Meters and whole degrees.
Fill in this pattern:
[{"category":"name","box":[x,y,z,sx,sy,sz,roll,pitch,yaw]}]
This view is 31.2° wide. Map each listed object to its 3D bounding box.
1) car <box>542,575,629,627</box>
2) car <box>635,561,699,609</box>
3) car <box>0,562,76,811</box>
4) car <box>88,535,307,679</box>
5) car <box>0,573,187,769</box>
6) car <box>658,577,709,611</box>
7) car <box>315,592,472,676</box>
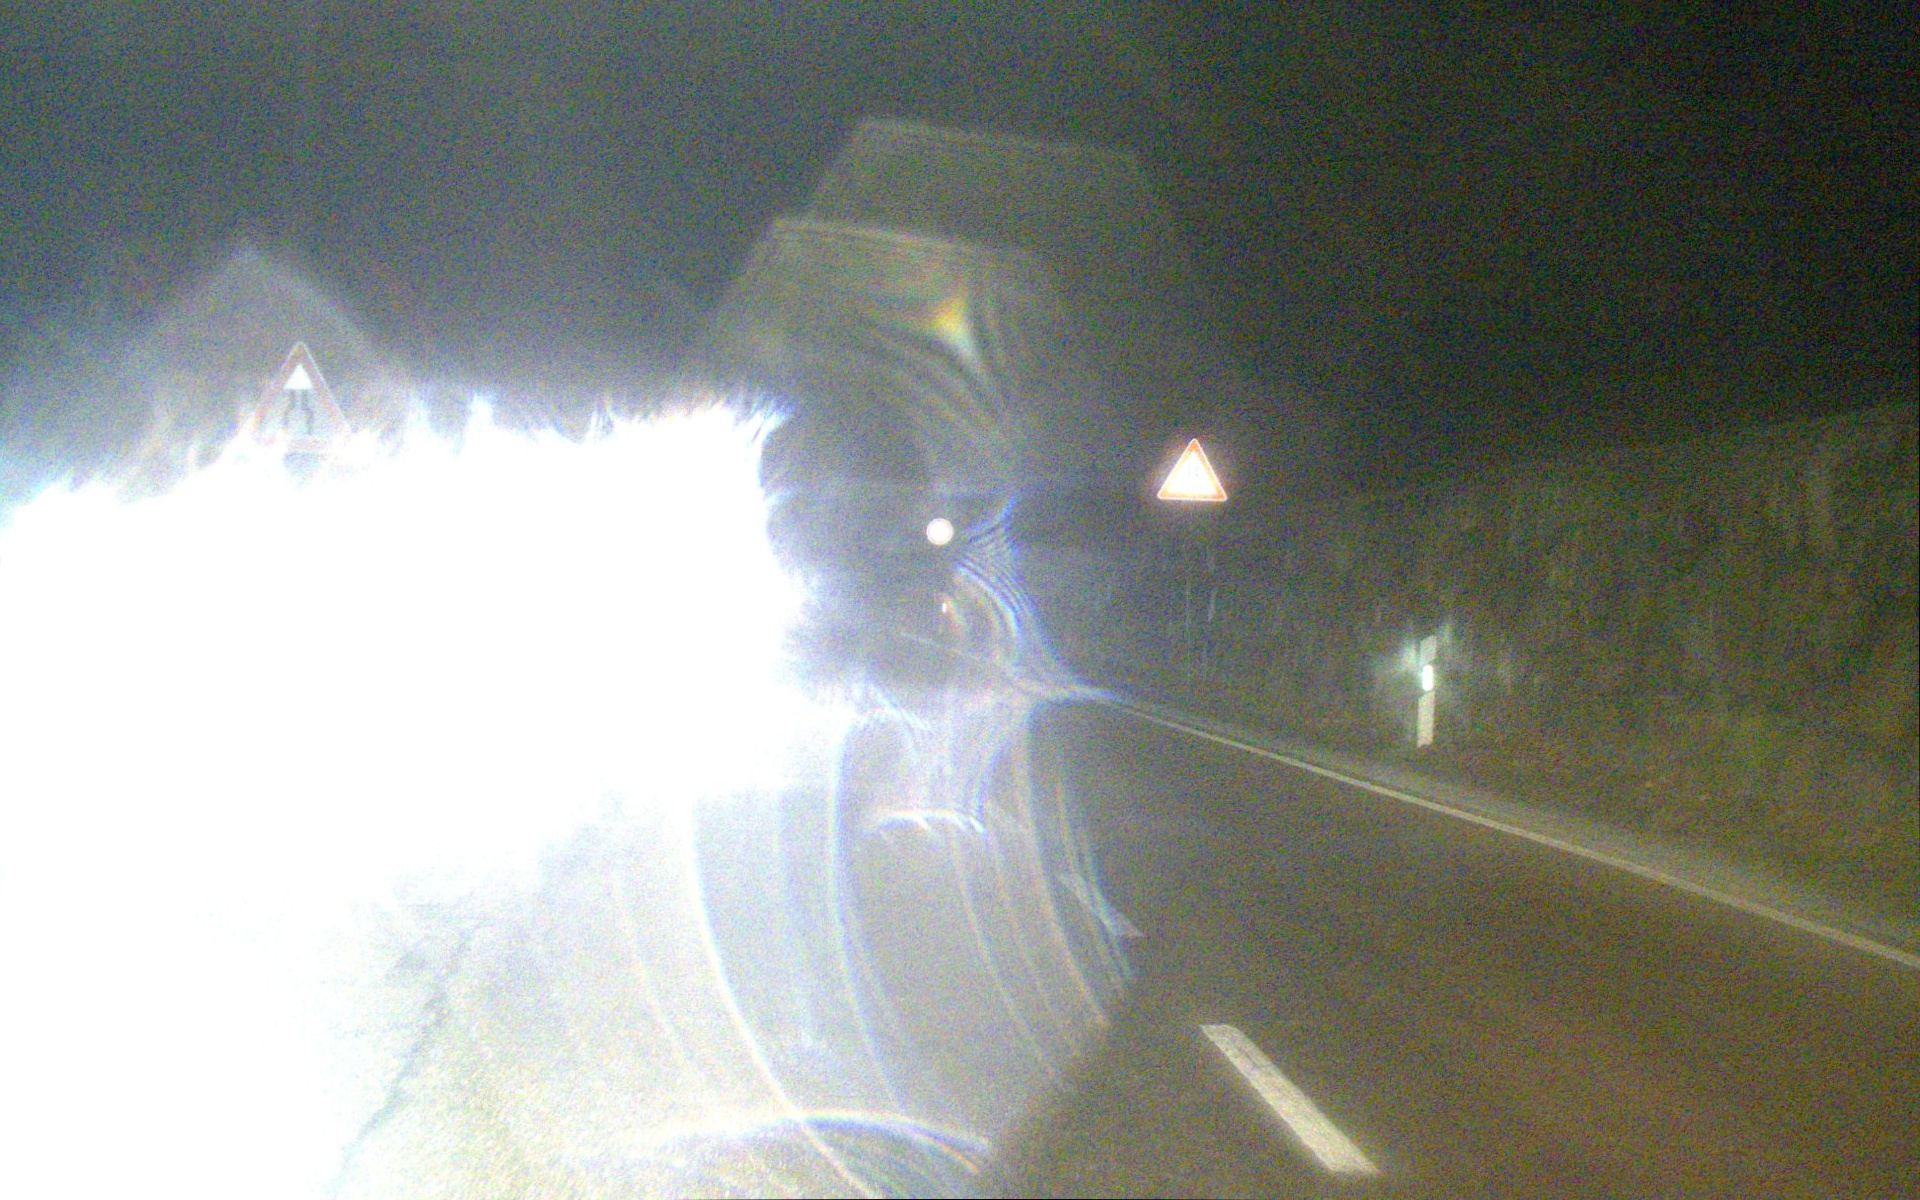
[{"category":"car","box":[-11.598,0.001,106.823,2.083,1.537,4.898,0,1,1]},{"category":"car","box":[-11.493,-0.615,135.133,1.993,1.858,5.319,0,1,1]},{"category":"car","box":[-7.507,0.575,23.138,1.993,1.692,5.013,1,0,-2]},{"category":"car","box":[-11.238,0.070,51.017,2.153,2.007,4.995,1,1,0]},{"category":"car","box":[-8.100,0.568,29.776,1.956,1.565,4.467,1,0,-2]},{"category":"car","box":[-13.210,-0.289,164.639,2.110,1.570,4.680,1,1,-1]},{"category":"car","box":[-11.253,0.640,68.637,2.181,1.553,5.204,0,1,1]}]
